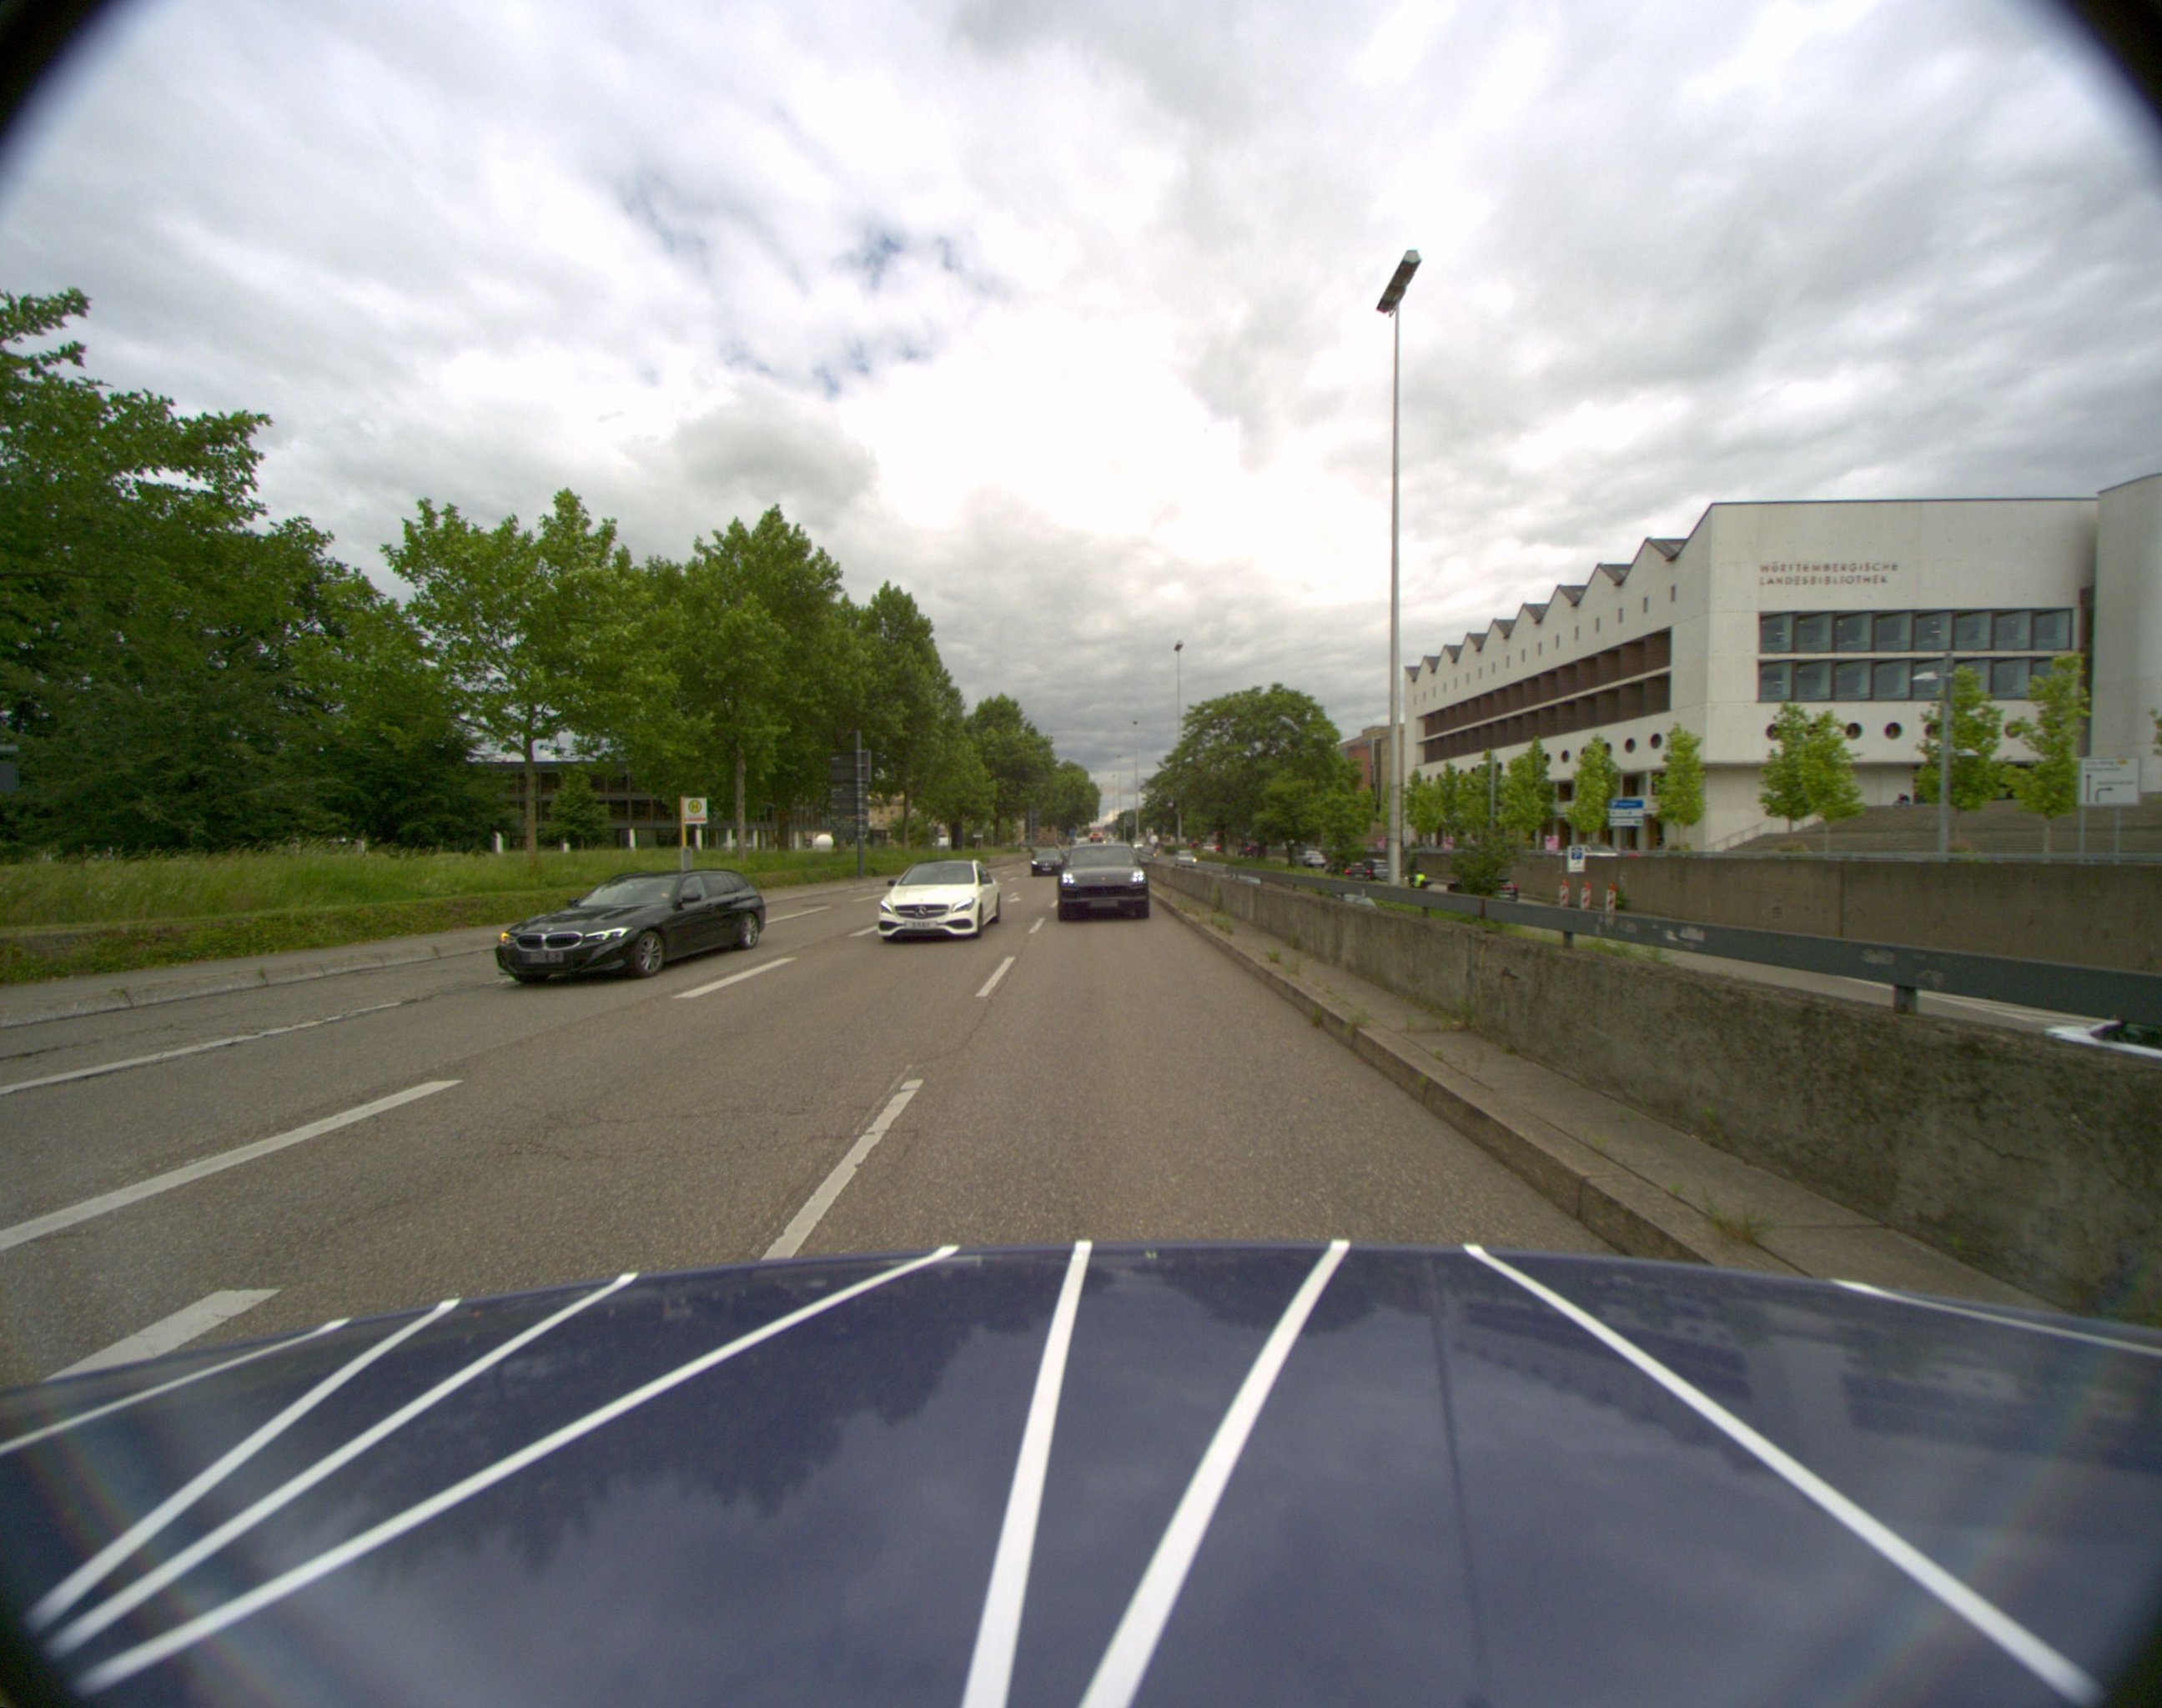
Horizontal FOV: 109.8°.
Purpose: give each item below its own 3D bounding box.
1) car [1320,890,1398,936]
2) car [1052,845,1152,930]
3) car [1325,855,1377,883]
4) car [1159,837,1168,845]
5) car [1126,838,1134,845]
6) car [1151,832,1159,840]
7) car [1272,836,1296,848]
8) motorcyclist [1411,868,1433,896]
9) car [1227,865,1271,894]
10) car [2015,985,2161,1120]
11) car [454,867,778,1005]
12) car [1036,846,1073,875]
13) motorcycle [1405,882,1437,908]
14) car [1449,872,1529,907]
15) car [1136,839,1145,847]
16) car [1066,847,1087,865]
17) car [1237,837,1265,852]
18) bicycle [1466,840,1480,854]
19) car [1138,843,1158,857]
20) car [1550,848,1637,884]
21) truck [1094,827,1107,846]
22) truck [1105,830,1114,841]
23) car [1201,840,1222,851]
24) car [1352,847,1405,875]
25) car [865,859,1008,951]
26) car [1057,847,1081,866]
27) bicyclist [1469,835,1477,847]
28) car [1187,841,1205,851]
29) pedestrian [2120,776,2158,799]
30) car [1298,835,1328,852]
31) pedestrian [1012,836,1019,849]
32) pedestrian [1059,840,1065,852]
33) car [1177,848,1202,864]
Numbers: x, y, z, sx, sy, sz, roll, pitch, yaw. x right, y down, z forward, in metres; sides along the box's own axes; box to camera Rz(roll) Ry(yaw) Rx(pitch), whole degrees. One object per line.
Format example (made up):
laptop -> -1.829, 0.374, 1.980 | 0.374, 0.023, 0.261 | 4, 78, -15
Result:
car -> 10.973, 2.292, 30.239 | 1.559, 1.406, 4.091 | -1, 1, 0
car -> 0.523, 0.629, 17.095 | 1.904, 1.581, 4.732 | -1, 1, 3
car -> 17.512, 0.928, 49.466 | 1.779, 1.481, 4.143 | 0, 4, -1
car -> 16.942, -2.657, 156.674 | 1.500, 1.429, 3.473 | -3, 2, 1
car -> 10.761, -2.696, 167.186 | 1.372, 1.390, 3.721 | 2, 1, 0
car -> 16.861, -4.065, 173.337 | 1.609, 1.844, 3.999 | -3, 2, 1
car -> 28.634, -1.756, 107.232 | 1.955, 1.619, 4.489 | -1, 1, -3
motorcyclist -> 17.747, 1.440, 39.550 | 0.671, 1.345, 0.717 | 3, 4, -1
car -> 9.520, 1.427, 43.249 | 1.559, 1.406, 4.091 | -1, 1, 0
car -> 17.005, 3.226, 10.299 | 1.999, 1.630, 5.247 | 5, 2, -1
car -> -6.657, 1.055, 11.649 | 1.936, 1.451, 4.526 | -2, 1, 3
car -> -1.467, 0.335, 43.778 | 1.852, 1.481, 4.092 | -1, 1, 1
motorcycle -> 17.698, 2.102, 39.559 | 0.687, 1.092, 2.049 | 3, 4, 0
car -> 20.492, 1.758, 38.388 | 1.810, 1.321, 4.002 | 0, 4, -1
car -> 11.327, -2.025, 143.663 | 1.372, 1.390, 3.721 | 2, 1, 0
car -> -0.467, 0.146, 82.114 | 2.021, 1.823, 4.804 | -1, 1, 2
car -> 19.872, -1.135, 88.966 | 2.161, 1.636, 4.515 | 2, 3, -1
bicycle -> 37.835, -0.688, 73.348 | 0.403, 1.265, 1.698 | -3, 2, -1
car -> 7.467, -0.457, 84.623 | 1.787, 1.406, 4.091 | -1, 1, 0
car -> 27.909, 0.628, 41.524 | 1.998, 1.753, 3.999 | 2, 1, 0
truck -> 3.751, -3.384, 147.957 | 2.357, 3.518, 9.423 | -3, 2, 1
truck -> 8.995, -5.965, 243.282 | 2.576, 3.288, 8.079 | -3, 2, 1
car -> 16.666, -1.125, 97.219 | 1.998, 1.390, 3.999 | 2, 1, 0
car -> 20.860, 0.468, 53.454 | 1.875, 1.604, 4.387 | 0, 4, -2
car -> -2.654, 0.880, 15.065 | 1.799, 1.412, 4.527 | -1, 1, 2
car -> -0.972, 0.182, 64.281 | 1.805, 1.426, 4.015 | -1, 1, 2
bicyclist -> 37.807, -1.242, 73.365 | 0.403, 1.154, 0.643 | -3, 2, -2
car -> 16.582, -1.199, 109.832 | 1.998, 1.390, 3.999 | 2, 1, 0
pedestrian -> 54.063, -3.372, 38.817 | 0.723, 0.943, 0.768 | -23, 6, -5
car -> 25.352, -1.217, 83.279 | 1.998, 1.753, 3.999 | 2, 1, 0
pedestrian -> -10.650, -1.909, 122.835 | 0.892, 2.002, 1.181 | -3, 2, 1
pedestrian -> -3.119, -1.259, 124.648 | 0.792, 2.001, 0.741 | -1, 0, 2
car -> 9.851, 0.161, 69.142 | 1.657, 1.406, 4.091 | -1, 1, 0
